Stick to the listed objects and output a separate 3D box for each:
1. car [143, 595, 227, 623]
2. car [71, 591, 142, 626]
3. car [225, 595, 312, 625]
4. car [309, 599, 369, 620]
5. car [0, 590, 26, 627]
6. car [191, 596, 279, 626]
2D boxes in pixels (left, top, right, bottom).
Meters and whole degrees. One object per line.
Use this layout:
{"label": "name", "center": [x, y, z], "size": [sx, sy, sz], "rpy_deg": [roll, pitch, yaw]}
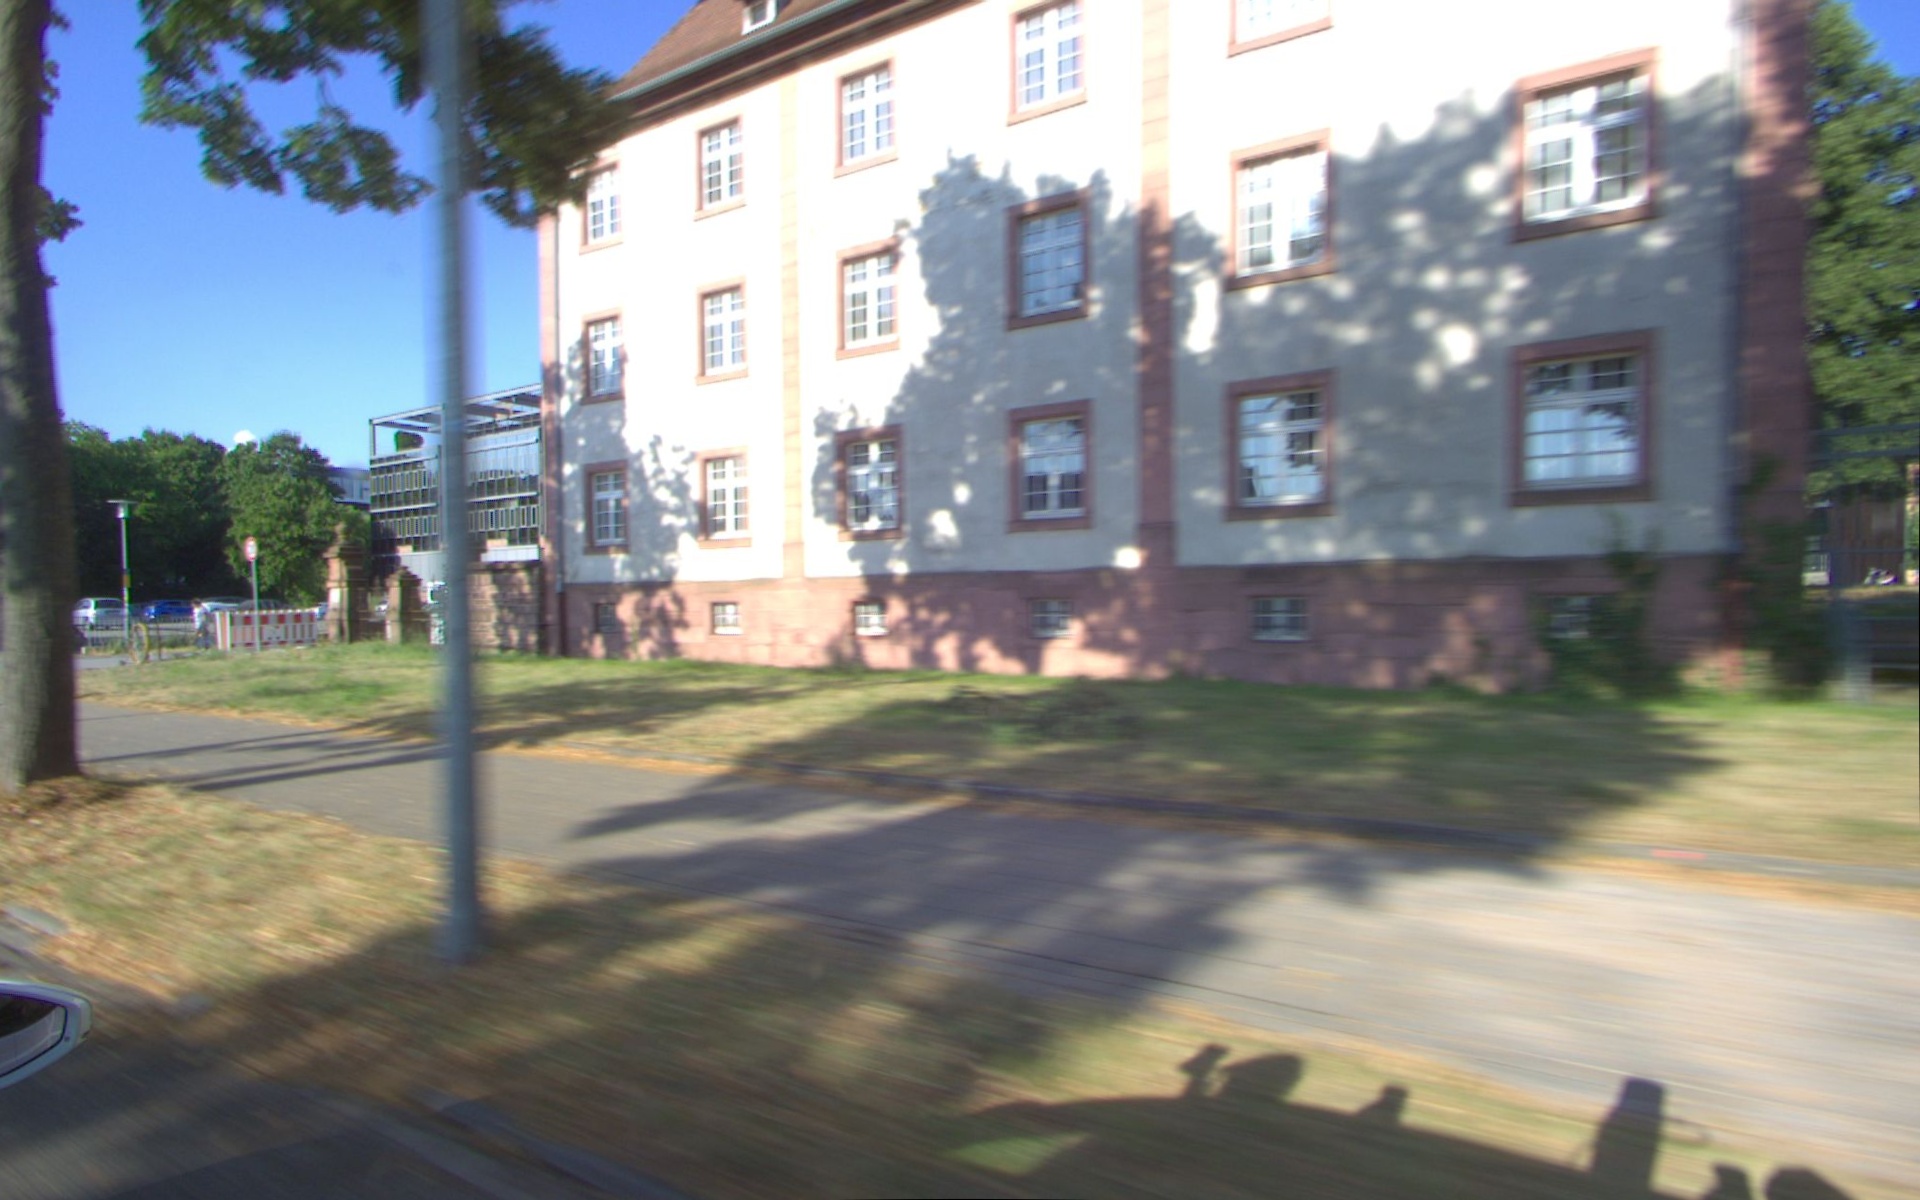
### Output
{"label": "car", "center": [-50.114, 0.604, 64.830], "size": [1.748, 1.750, 3.978], "rpy_deg": [0, -1, 33]}
{"label": "car", "center": [-41.485, 0.453, 48.653], "size": [3.577, 1.579, 1.807], "rpy_deg": [-2, -2, 35]}
{"label": "car", "center": [-41.393, 0.609, 60.016], "size": [1.748, 1.750, 3.978], "rpy_deg": [0, -1, 33]}
{"label": "car", "center": [-47.596, 0.765, 76.850], "size": [1.748, 1.565, 3.527], "rpy_deg": [0, 0, 33]}
{"label": "car", "center": [-46.838, 0.383, 47.104], "size": [1.975, 1.705, 3.973], "rpy_deg": [-2, -2, 38]}
{"label": "car", "center": [-43.811, 0.709, 60.574], "size": [1.748, 1.750, 3.978], "rpy_deg": [0, -1, 33]}
